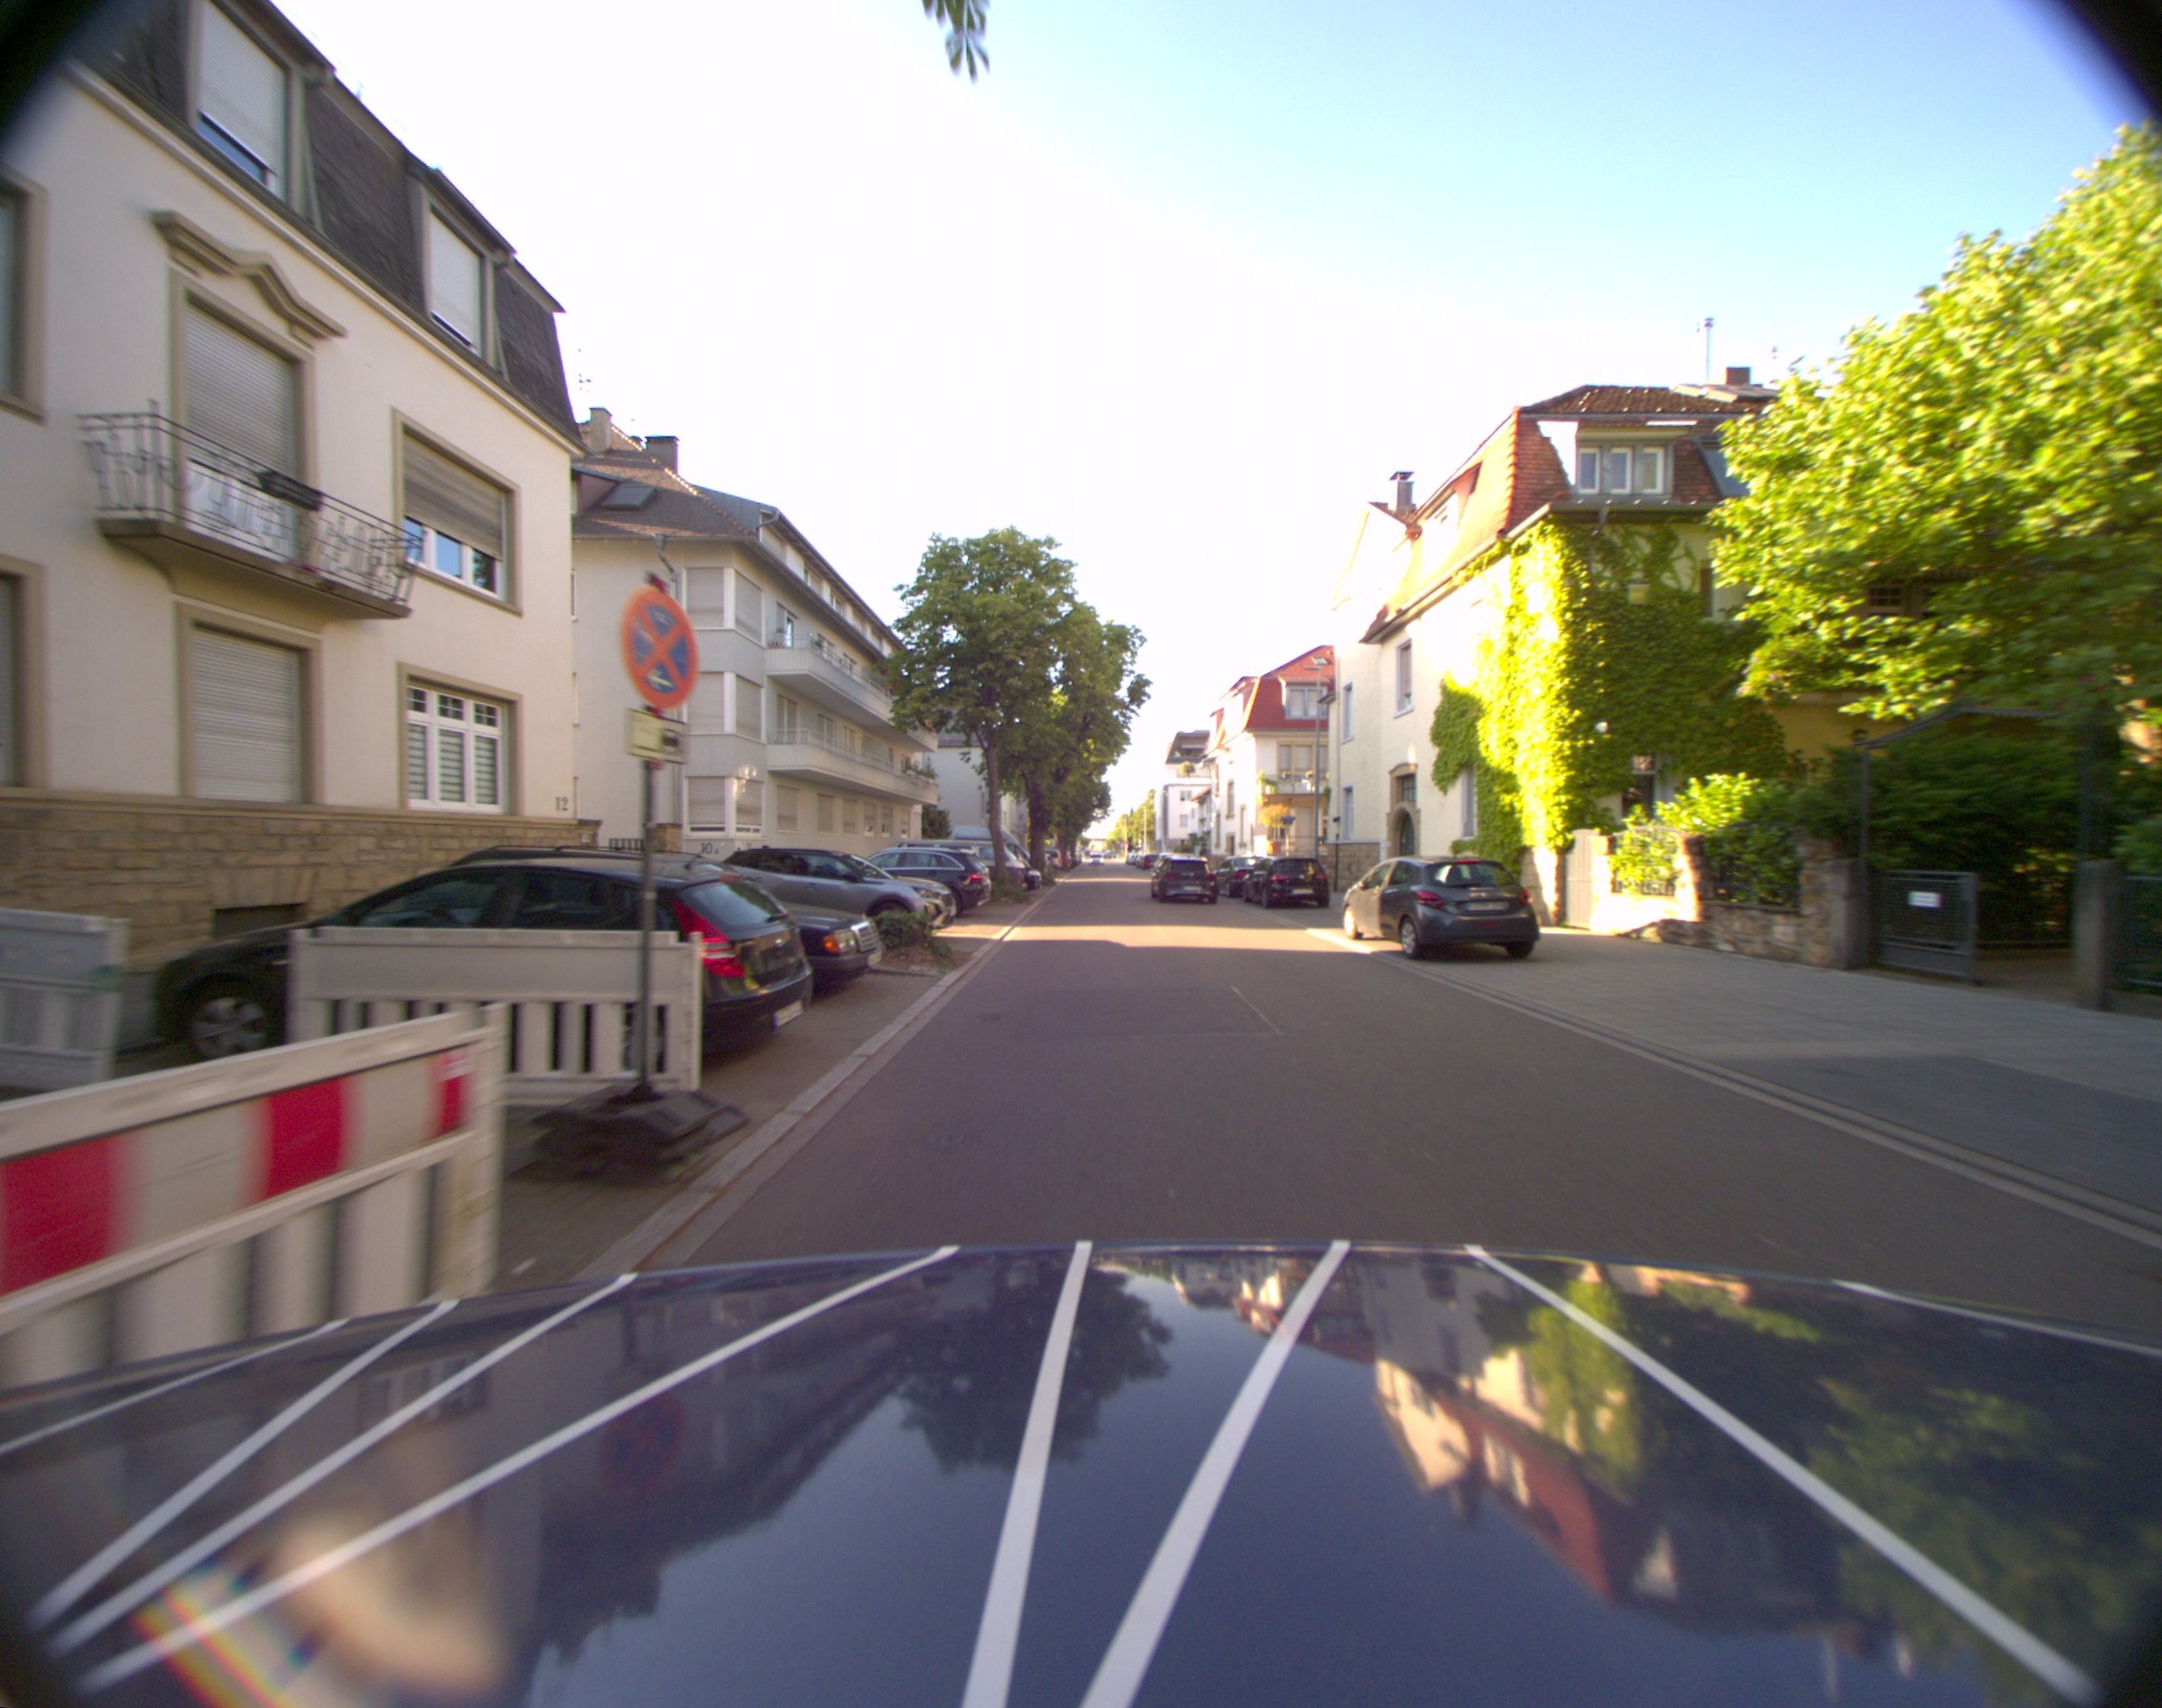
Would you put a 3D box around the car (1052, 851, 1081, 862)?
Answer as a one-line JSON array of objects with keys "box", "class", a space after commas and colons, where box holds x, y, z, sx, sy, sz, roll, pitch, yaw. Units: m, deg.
[{"box": [-1.945, 0.326, 101.116, 3.828, 1.477, 1.600, 0, 1, -6], "class": "car"}]

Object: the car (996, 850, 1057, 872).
[{"box": [-3.905, 0.481, 55.013, 4.313, 1.532, 1.758, 0, 1, -2], "class": "car"}]

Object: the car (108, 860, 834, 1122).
[{"box": [-4.182, 0.856, 5.697, 3.996, 1.483, 1.851, 2, 1, 3], "class": "car"}]

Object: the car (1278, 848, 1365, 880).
[{"box": [11.938, 0.499, 37.860, 3.772, 1.550, 1.761, 0, -1, -3], "class": "car"}]

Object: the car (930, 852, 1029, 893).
[{"box": [-4.032, 0.710, 30.508, 3.729, 1.545, 1.639, 0, 1, 2], "class": "car"}]

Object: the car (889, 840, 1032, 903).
[{"box": [-3.954, 0.561, 25.499, 4.481, 2.002, 1.896, 0, 1, -1], "class": "car"}]

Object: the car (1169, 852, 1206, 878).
[{"box": [6.374, 0.603, 45.938, 1.657, 1.446, 4.631, -1, 0, 1], "class": "car"}]

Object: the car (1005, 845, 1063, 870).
[{"box": [-3.523, 0.255, 57.763, 4.313, 1.874, 1.758, 0, 2, -2], "class": "car"}]

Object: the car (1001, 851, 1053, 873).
[{"box": [-3.691, 0.536, 52.150, 3.411, 1.419, 1.759, 1, 1, 1], "class": "car"}]

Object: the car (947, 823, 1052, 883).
[{"box": [-4.081, -0.042, 38.535, 5.108, 2.885, 2.075, 1, 1, -1], "class": "car"}]

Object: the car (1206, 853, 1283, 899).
[{"box": [5.793, 0.714, 27.440, 1.713, 1.461, 4.633, -1, 0, -1], "class": "car"}]

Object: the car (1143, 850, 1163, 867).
[{"box": [6.608, 0.436, 70.261, 1.654, 1.474, 3.429, -2, 1, 3], "class": "car"}]

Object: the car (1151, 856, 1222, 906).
[{"box": [3.281, 0.788, 24.305, 1.776, 1.440, 4.000, 0, 0, 1], "class": "car"}]

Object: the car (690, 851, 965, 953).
[{"box": [-4.277, 0.781, 13.316, 4.166, 1.530, 1.851, 2, 1, 0], "class": "car"}]

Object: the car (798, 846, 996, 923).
[{"box": [-4.322, 0.704, 18.342, 4.343, 1.673, 1.705, 1, 0, -2], "class": "car"}]

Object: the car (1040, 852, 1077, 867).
[{"box": [-2.286, 0.545, 77.689, 3.680, 1.488, 1.676, 0, 1, 1], "class": "car"}]

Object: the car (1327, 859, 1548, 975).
[{"box": [5.343, 0.842, 12.002, 1.657, 1.438, 4.005, -1, 0, 1], "class": "car"}]

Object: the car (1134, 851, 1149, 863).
[{"box": [7.403, 0.362, 93.513, 1.723, 1.386, 3.908, -2, 0, 2], "class": "car"}]

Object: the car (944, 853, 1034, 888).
[{"box": [-3.960, 0.716, 33.251, 3.730, 1.423, 1.758, 0, 2, 0], "class": "car"}]

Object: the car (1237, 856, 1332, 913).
[{"box": [5.769, 0.808, 22.030, 1.657, 1.407, 4.167, -1, 0, 0], "class": "car"}]

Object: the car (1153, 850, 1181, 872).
[{"box": [6.263, 0.519, 55.585, 1.585, 1.512, 3.706, -1, 1, 0], "class": "car"}]

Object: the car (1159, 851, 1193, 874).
[{"box": [6.373, 0.560, 51.255, 1.586, 1.468, 3.705, -1, 1, -3], "class": "car"}]

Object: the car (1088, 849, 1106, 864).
[{"box": [2.017, 0.298, 92.611, 2.098, 1.701, 4.606, 0, 1, 2], "class": "car"}]

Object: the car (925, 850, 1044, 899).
[{"box": [-3.502, 0.723, 27.884, 4.188, 1.714, 1.764, 0, 1, -6], "class": "car"}]

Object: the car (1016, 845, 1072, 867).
[{"box": [-3.289, 0.143, 68.035, 4.819, 1.925, 1.950, 0, 1, 2], "class": "car"}]

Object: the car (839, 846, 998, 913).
[{"box": [-4.434, 0.670, 21.059, 3.958, 1.673, 1.706, 1, 0, 4], "class": "car"}]

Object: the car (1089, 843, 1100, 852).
[{"box": [2.561, -1.192, 142.648, 1.913, 1.679, 4.198, -2, 1, 1], "class": "car"}]

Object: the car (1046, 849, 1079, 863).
[{"box": [-2.072, 0.220, 85.372, 3.680, 1.434, 1.601, 0, 1, 1], "class": "car"}]

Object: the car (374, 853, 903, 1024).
[{"box": [-4.565, 0.822, 8.352, 4.729, 1.526, 1.851, 2, 1, 1], "class": "car"}]

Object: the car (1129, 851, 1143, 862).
[{"box": [7.094, 0.325, 98.601, 1.723, 1.386, 3.908, -2, 0, 2], "class": "car"}]
